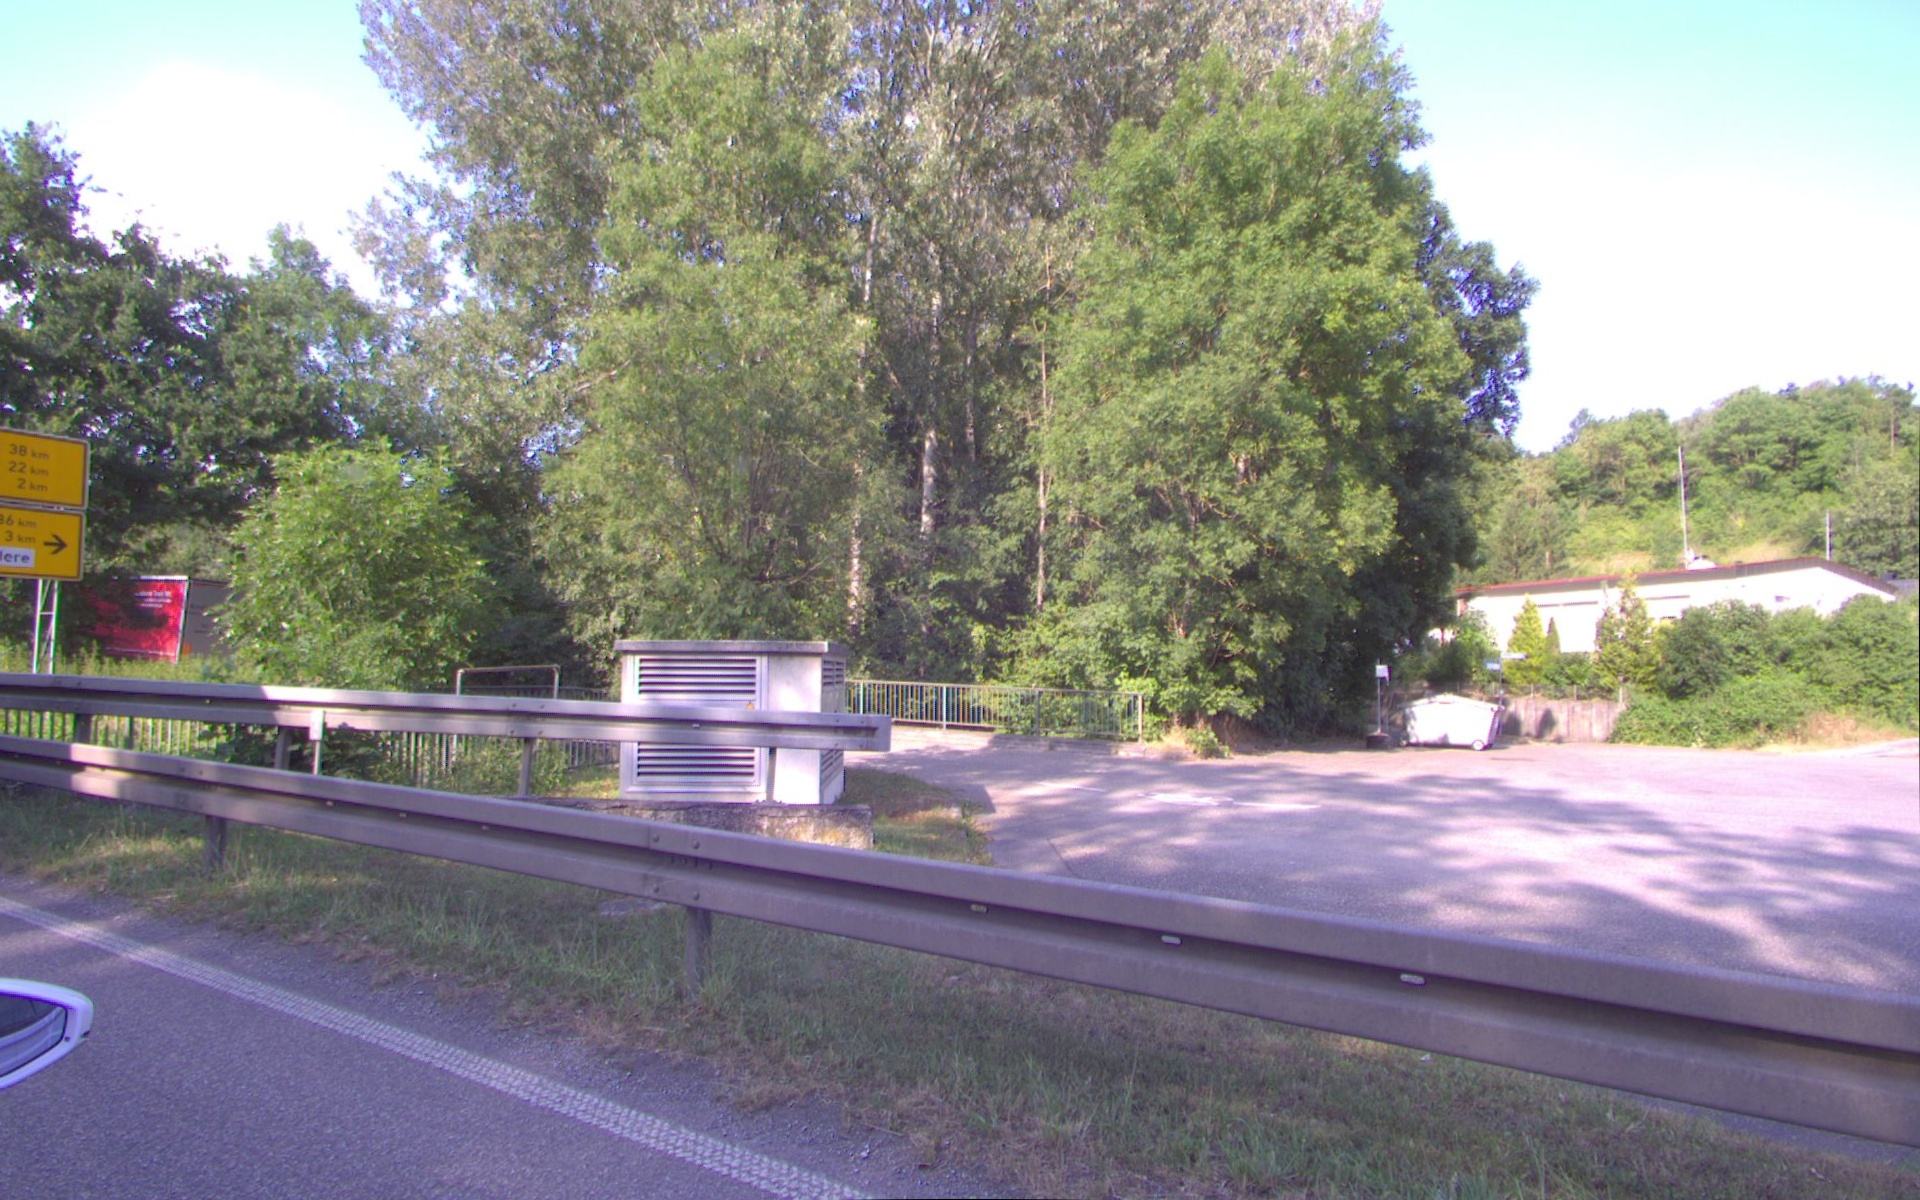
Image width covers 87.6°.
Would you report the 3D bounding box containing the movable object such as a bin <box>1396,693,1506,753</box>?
[{"bbox_3d":[13.074,3.251,26.694,2.521,1.436,1.265,-1,-6,32],"label":"movable object such as a bin"}]
